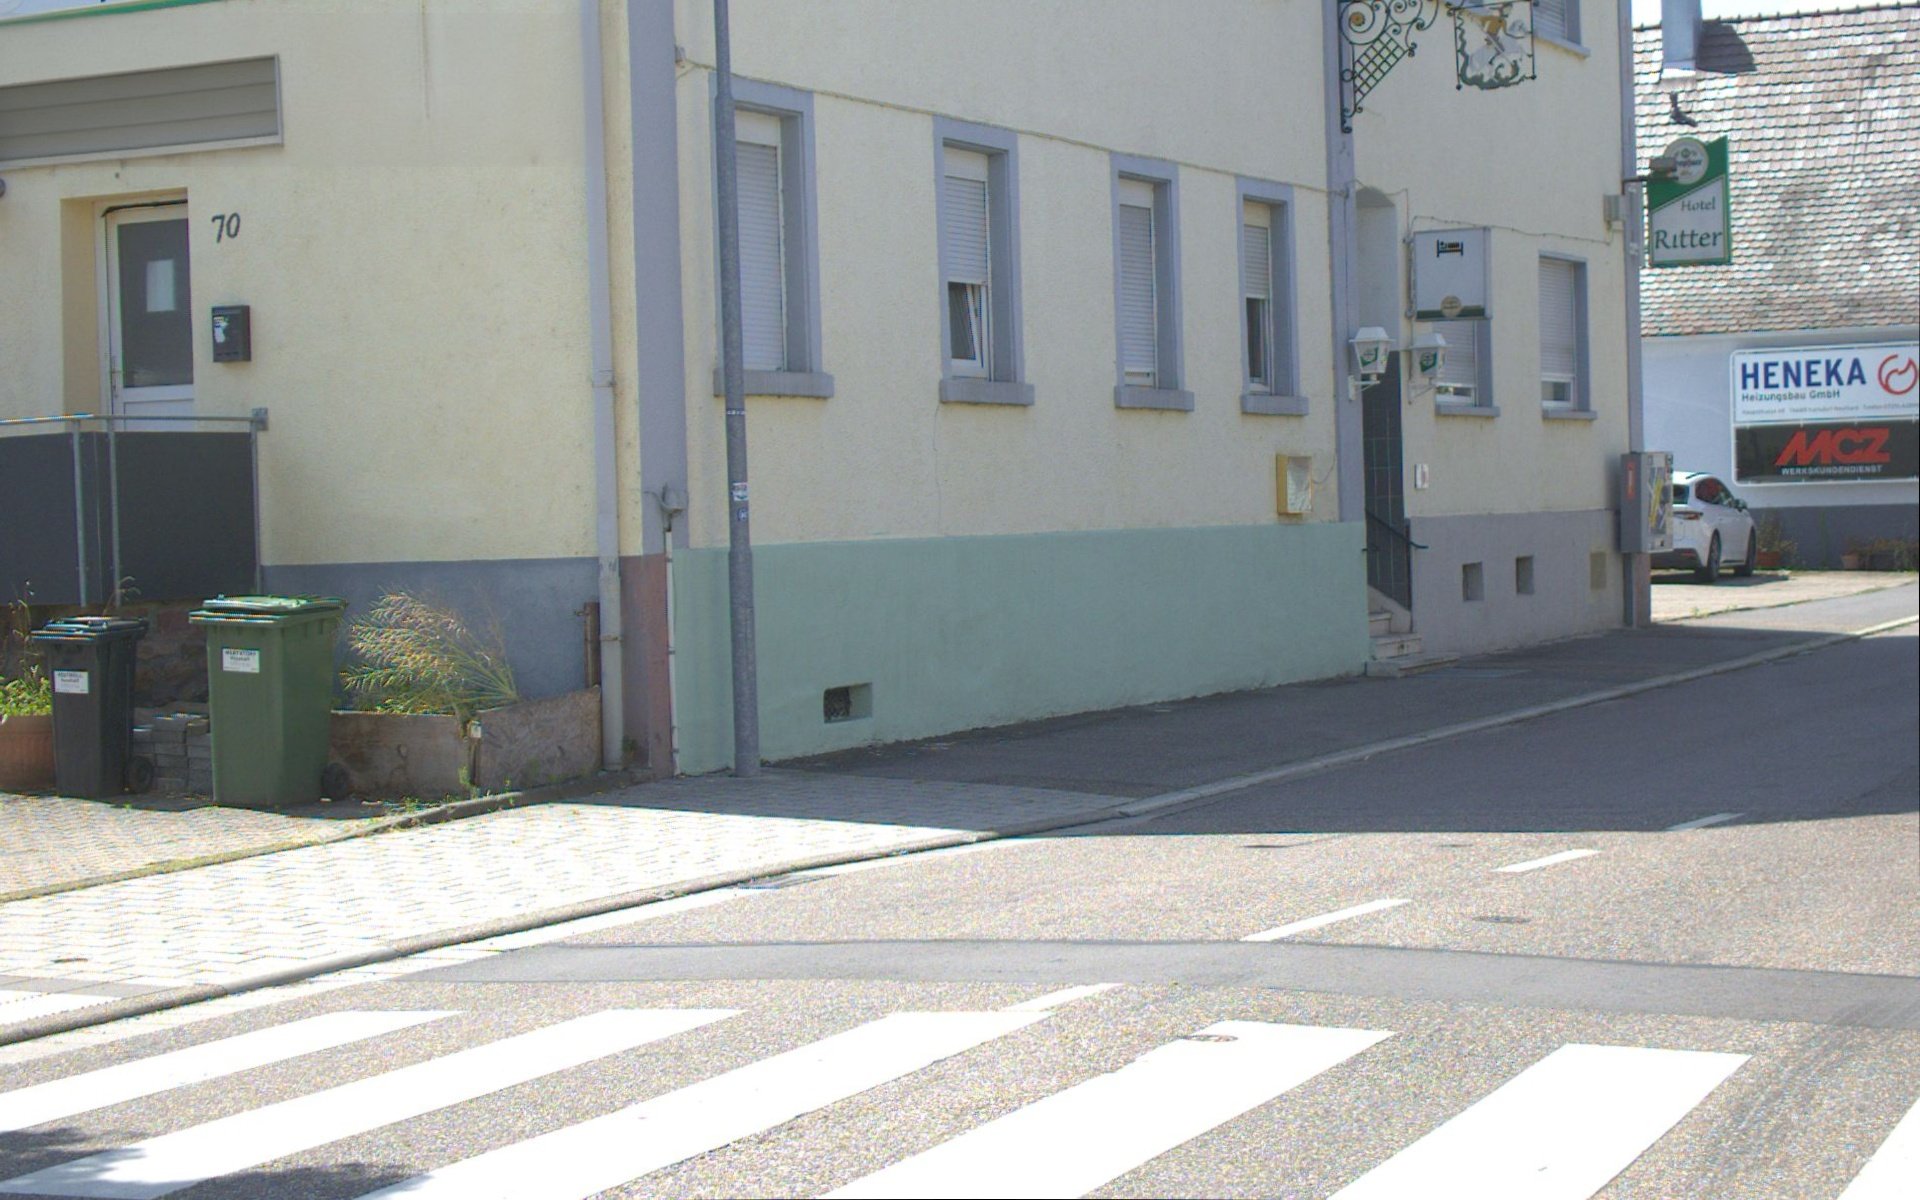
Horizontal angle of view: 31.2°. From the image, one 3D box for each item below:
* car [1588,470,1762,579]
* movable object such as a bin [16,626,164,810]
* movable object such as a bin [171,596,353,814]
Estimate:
[{"bbox_3d":[10.729,-1.156,51.371,1.721,1.550,4.194,1,2,23],"label":"car"},{"bbox_3d":[-4.557,0.613,18.027,0.480,0.925,0.546,-1,2,28],"label":"movable object such as a bin"},{"bbox_3d":[-3.587,0.532,17.687,0.600,1.075,0.657,-1,2,28],"label":"movable object such as a bin"}]
